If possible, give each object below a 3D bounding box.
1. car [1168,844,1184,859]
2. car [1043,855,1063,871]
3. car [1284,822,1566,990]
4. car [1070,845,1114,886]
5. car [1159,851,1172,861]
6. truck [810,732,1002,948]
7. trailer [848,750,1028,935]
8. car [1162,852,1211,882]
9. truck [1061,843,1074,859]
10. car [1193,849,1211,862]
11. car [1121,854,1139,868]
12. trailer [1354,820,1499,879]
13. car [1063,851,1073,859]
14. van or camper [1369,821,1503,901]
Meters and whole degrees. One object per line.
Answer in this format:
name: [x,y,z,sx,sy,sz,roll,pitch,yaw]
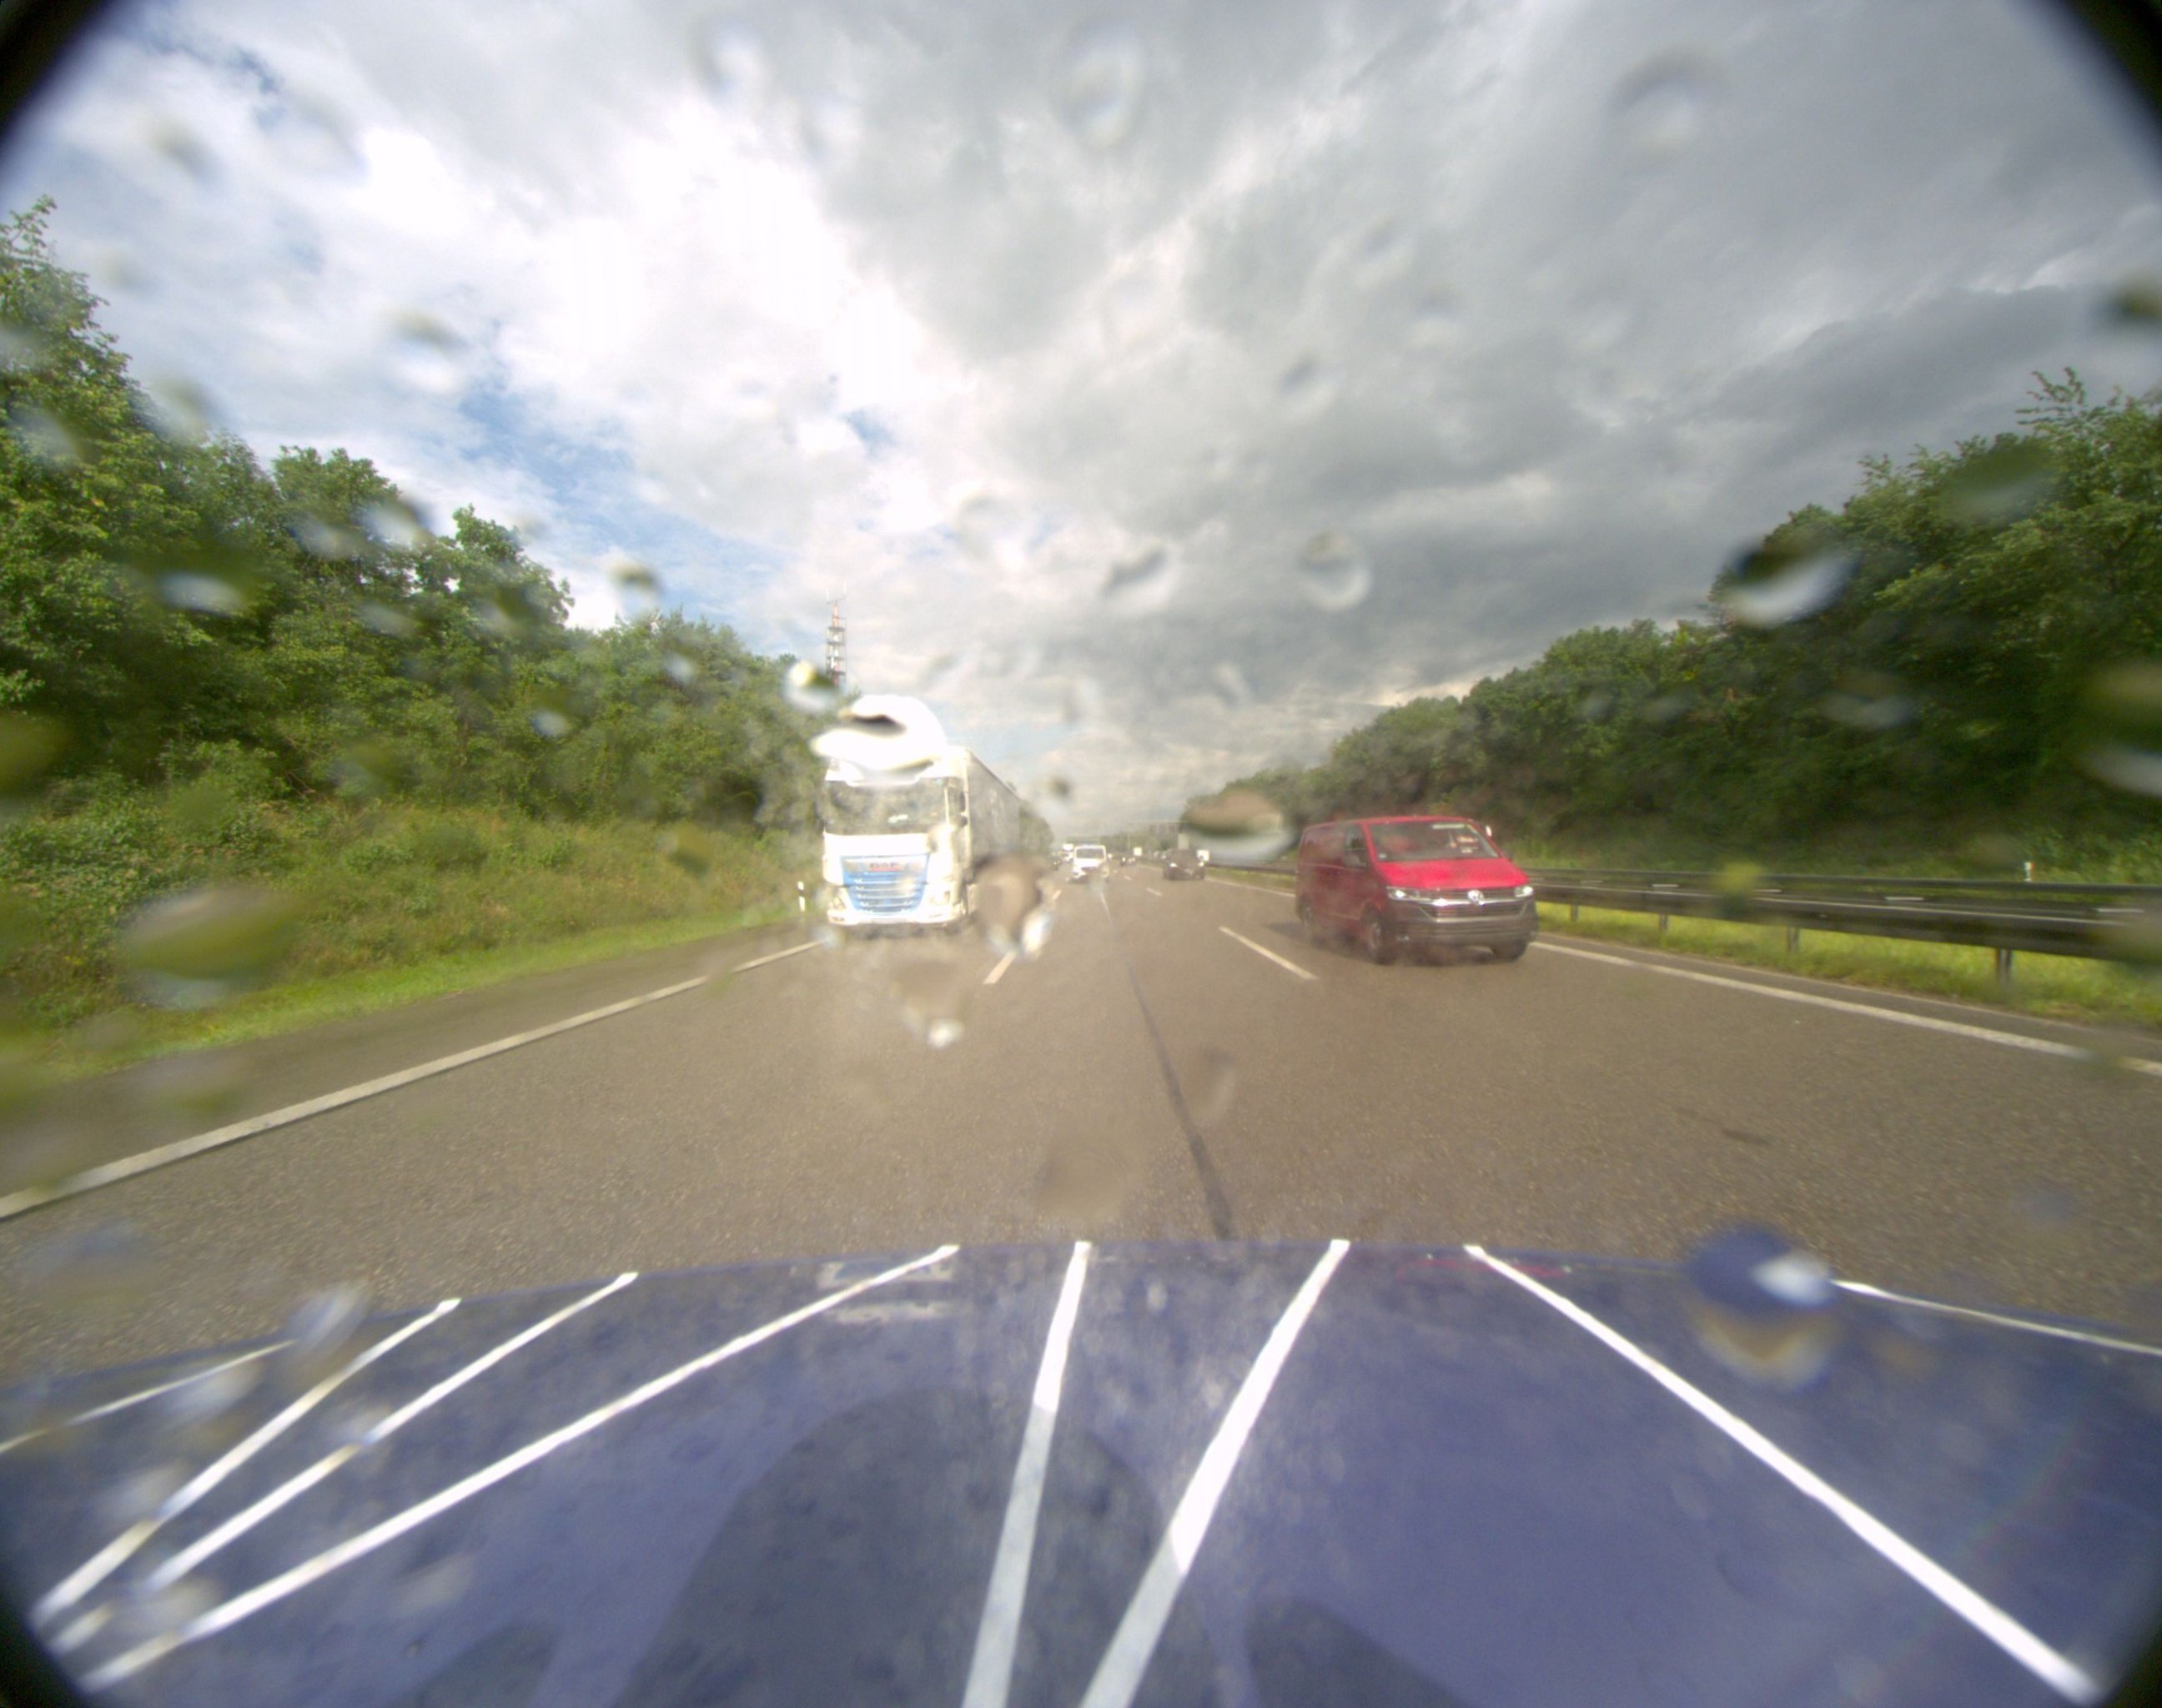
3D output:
car: [19.768,-0.503,158.893,2.268,2.853,6.930,-2,0,0]
car: [-2.866,0.914,79.039,1.799,1.410,4.838,-2,0,1]
car: [4.584,0.587,11.112,1.927,1.855,4.838,-2,0,1]
car: [0.559,0.562,40.747,2.124,1.988,5.982,-2,0,1]
car: [15.423,0.341,138.635,1.850,1.653,4.661,-2,0,0]
truck: [-3.674,-0.288,17.927,2.613,3.972,7.289,-2,0,1]
trailer: [-3.628,-0.296,23.701,2.641,3.972,14.063,-2,0,1]
car: [5.743,0.669,41.870,2.009,1.488,4.838,-2,0,1]
truck: [-3.314,-0.698,186.322,3.064,3.827,8.799,0,0,0]
car: [18.490,0.209,115.982,1.873,1.935,5.040,-2,0,0]
car: [5.721,0.797,89.050,1.799,1.410,4.838,-2,0,1]
trailer: [26.428,-0.358,59.971,2.998,3.809,17.949,-2,0,0]
car: [-2.380,0.240,142.292,1.799,1.410,4.838,-2,0,1]
van or camper: [14.242,0.240,31.138,2.268,2.853,6.839,-2,0,1]
